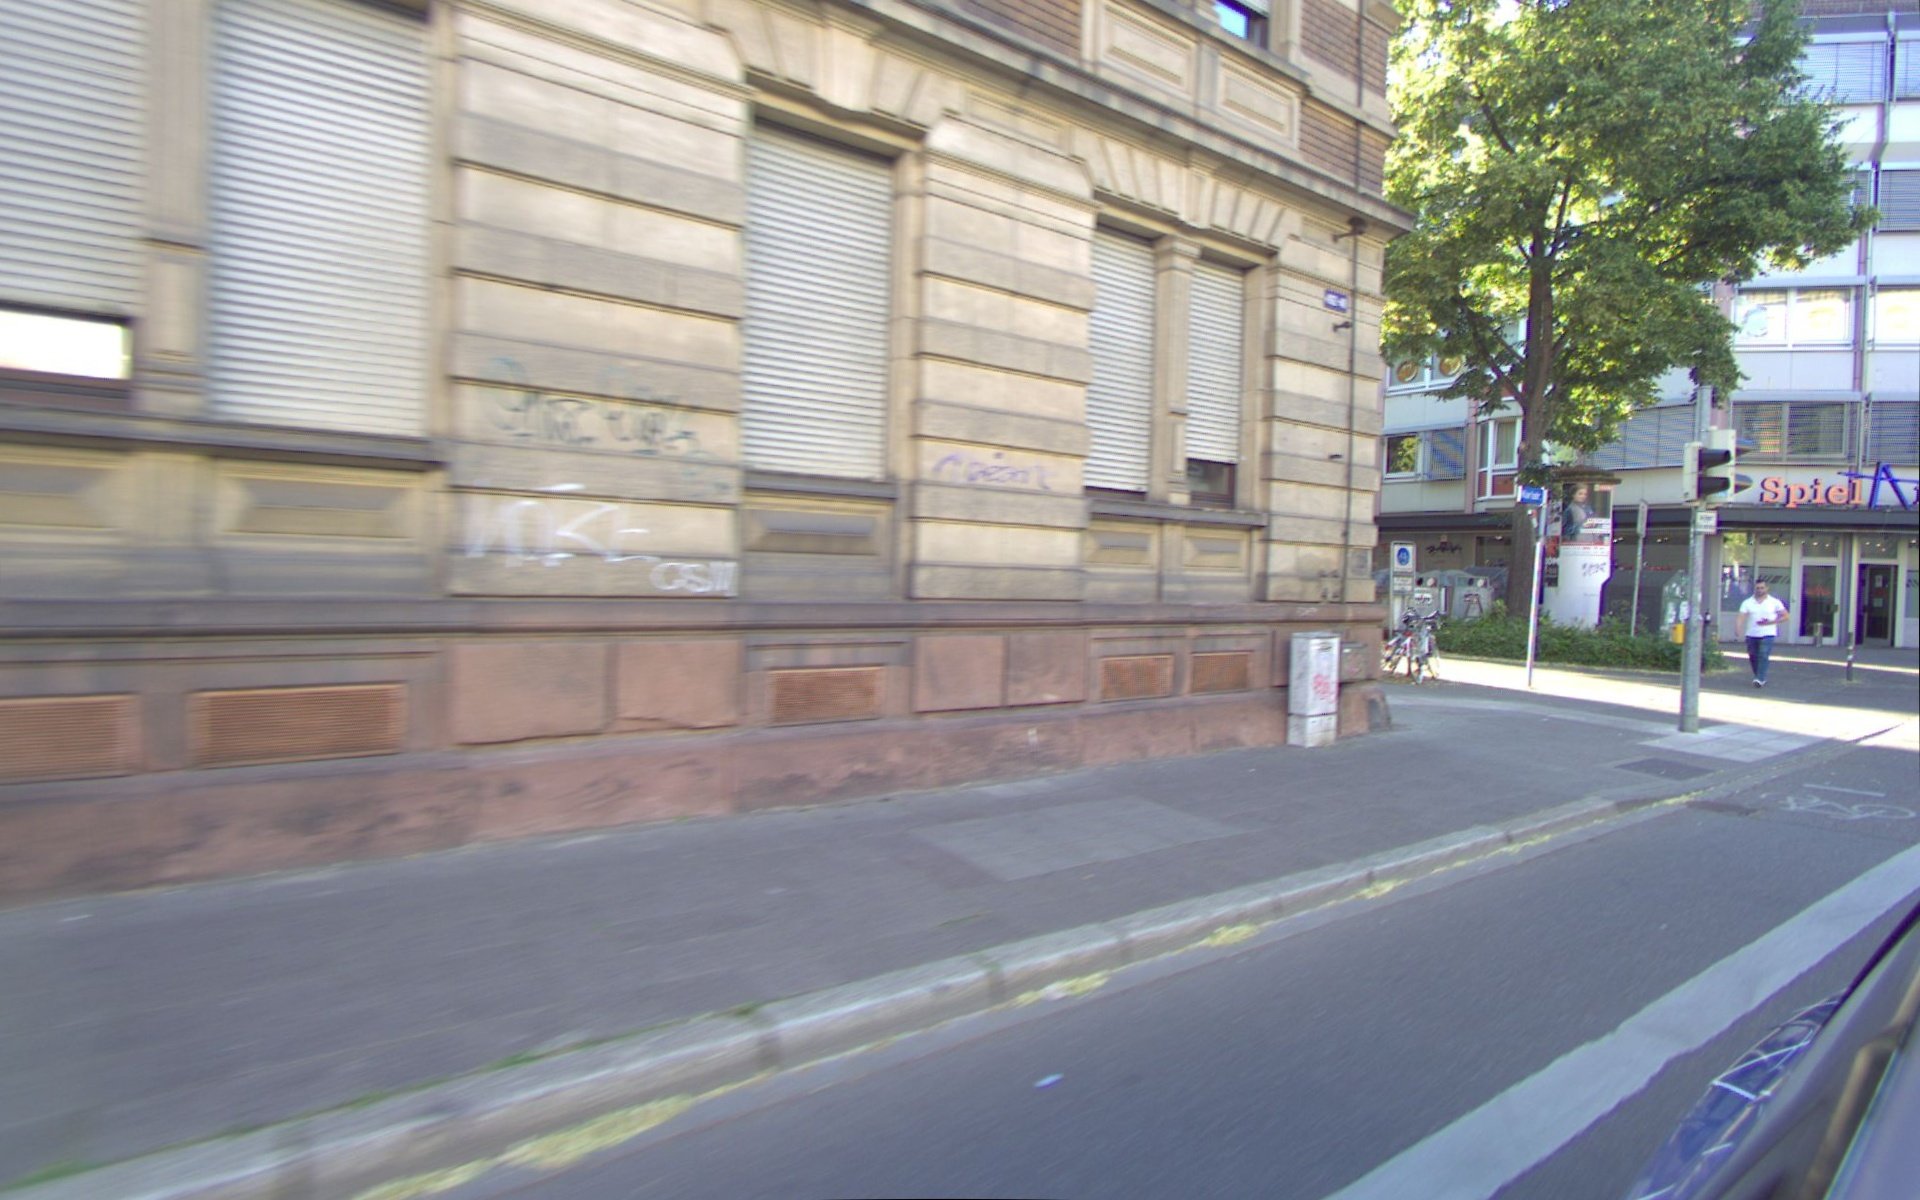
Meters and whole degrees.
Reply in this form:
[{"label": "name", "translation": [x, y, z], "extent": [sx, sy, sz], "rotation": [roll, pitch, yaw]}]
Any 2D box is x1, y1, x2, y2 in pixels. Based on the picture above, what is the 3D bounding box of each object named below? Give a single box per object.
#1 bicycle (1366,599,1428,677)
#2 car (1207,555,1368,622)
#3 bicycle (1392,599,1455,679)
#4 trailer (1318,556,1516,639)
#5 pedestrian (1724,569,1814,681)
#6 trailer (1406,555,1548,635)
[{"label": "bicycle", "translation": [6.362, 0.522, 14.696], "extent": [0.415, 1.037, 1.883], "rotation": [2, 1, 35]}, {"label": "car", "translation": [8.985, -0.310, 27.819], "extent": [3.850, 1.754, 1.977], "rotation": [0, 1, -22]}, {"label": "bicycle", "translation": [6.595, 0.518, 14.357], "extent": [0.449, 1.037, 1.883], "rotation": [2, 1, 35]}, {"label": "trailer", "translation": [10.464, -0.096, 23.226], "extent": [3.850, 1.753, 1.978], "rotation": [0, 3, -22]}, {"label": "pedestrian", "translation": [12.726, 0.390, 15.923], "extent": [1.013, 1.686, 0.786], "rotation": [3, 0, -35]}, {"label": "trailer", "translation": [13.239, -0.153, 25.949], "extent": [3.119, 1.906, 1.584], "rotation": [0, 4, -25]}]
